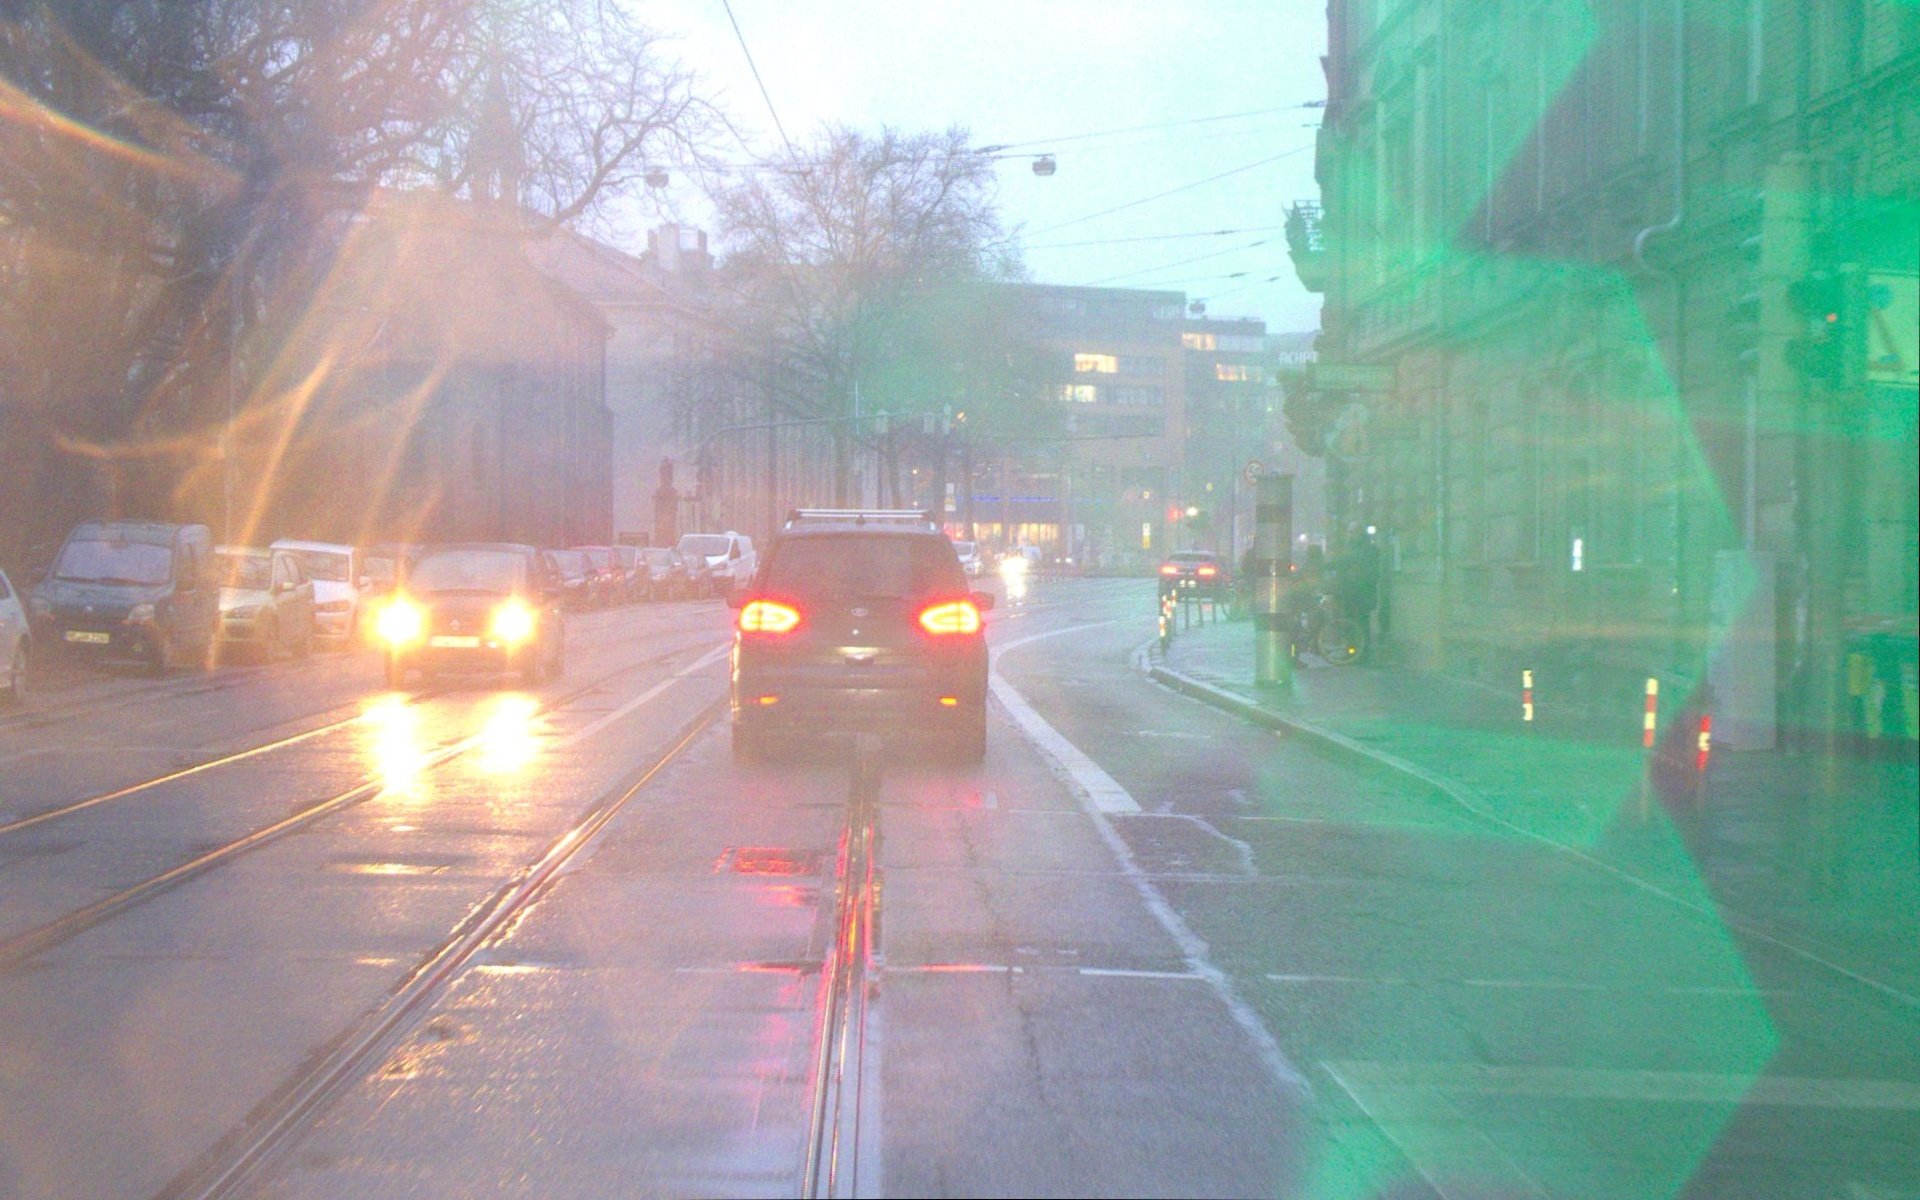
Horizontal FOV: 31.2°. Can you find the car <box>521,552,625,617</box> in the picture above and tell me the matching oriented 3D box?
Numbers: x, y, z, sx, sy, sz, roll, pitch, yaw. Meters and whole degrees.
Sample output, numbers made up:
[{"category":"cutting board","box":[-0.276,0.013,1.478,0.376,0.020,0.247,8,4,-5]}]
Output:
[{"category":"car","box":[-10.043,-0.410,89.471,1.984,1.610,4.429,1,0,3]}]

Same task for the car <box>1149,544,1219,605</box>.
[{"category":"car","box":[6.930,-0.807,106.652,1.993,1.835,4.000,1,1,1]}]

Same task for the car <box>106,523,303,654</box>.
[{"category":"car","box":[-9.982,-0.159,45.728,1.983,1.610,4.430,1,0,-5]}]

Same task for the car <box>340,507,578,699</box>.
[{"category":"car","box":[-5.565,0.021,38.677,1.993,2.007,4.000,1,0,1]}]

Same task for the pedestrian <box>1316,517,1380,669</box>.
[{"category":"pedestrian","box":[5.037,-0.087,44.658,0.715,1.946,0.657,1,0,-1]}]

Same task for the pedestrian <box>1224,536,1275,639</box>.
[{"category":"pedestrian","box":[5.041,-0.224,59.840,0.771,1.769,0.685,1,0,-1]}]

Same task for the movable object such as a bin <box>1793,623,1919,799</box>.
[{"category":"movable object such as a bin","box":[5.601,0.681,21.340,0.640,1.051,0.744,1,0,-1]}]

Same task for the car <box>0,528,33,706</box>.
[{"category":"car","box":[-9.611,0.138,30.372,1.983,1.610,4.430,1,0,-5]}]

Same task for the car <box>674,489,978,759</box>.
[{"category":"car","box":[-0.920,0.145,25.807,1.993,1.835,4.000,1,1,2]}]

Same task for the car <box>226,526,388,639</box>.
[{"category":"car","box":[-9.904,-0.268,52.440,1.983,1.610,4.430,1,0,-5]}]

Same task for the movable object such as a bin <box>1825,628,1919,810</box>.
[{"category":"movable object such as a bin","box":[5.609,0.709,20.576,0.640,1.051,0.744,1,0,-1]}]

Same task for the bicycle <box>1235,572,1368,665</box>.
[{"category":"bicycle","box":[4.397,0.224,44.445,0.792,1.140,2.244,1,0,-20]}]

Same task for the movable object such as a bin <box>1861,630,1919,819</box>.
[{"category":"movable object such as a bin","box":[5.625,0.713,19.808,0.640,1.051,0.744,1,0,-1]}]

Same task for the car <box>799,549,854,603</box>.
[{"category":"car","box":[-5.103,-0.924,132.184,1.993,2.007,4.000,1,0,-1]}]

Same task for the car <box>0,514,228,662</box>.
[{"category":"car","box":[-9.946,-0.152,40.668,1.983,1.610,4.430,1,0,-5]}]
